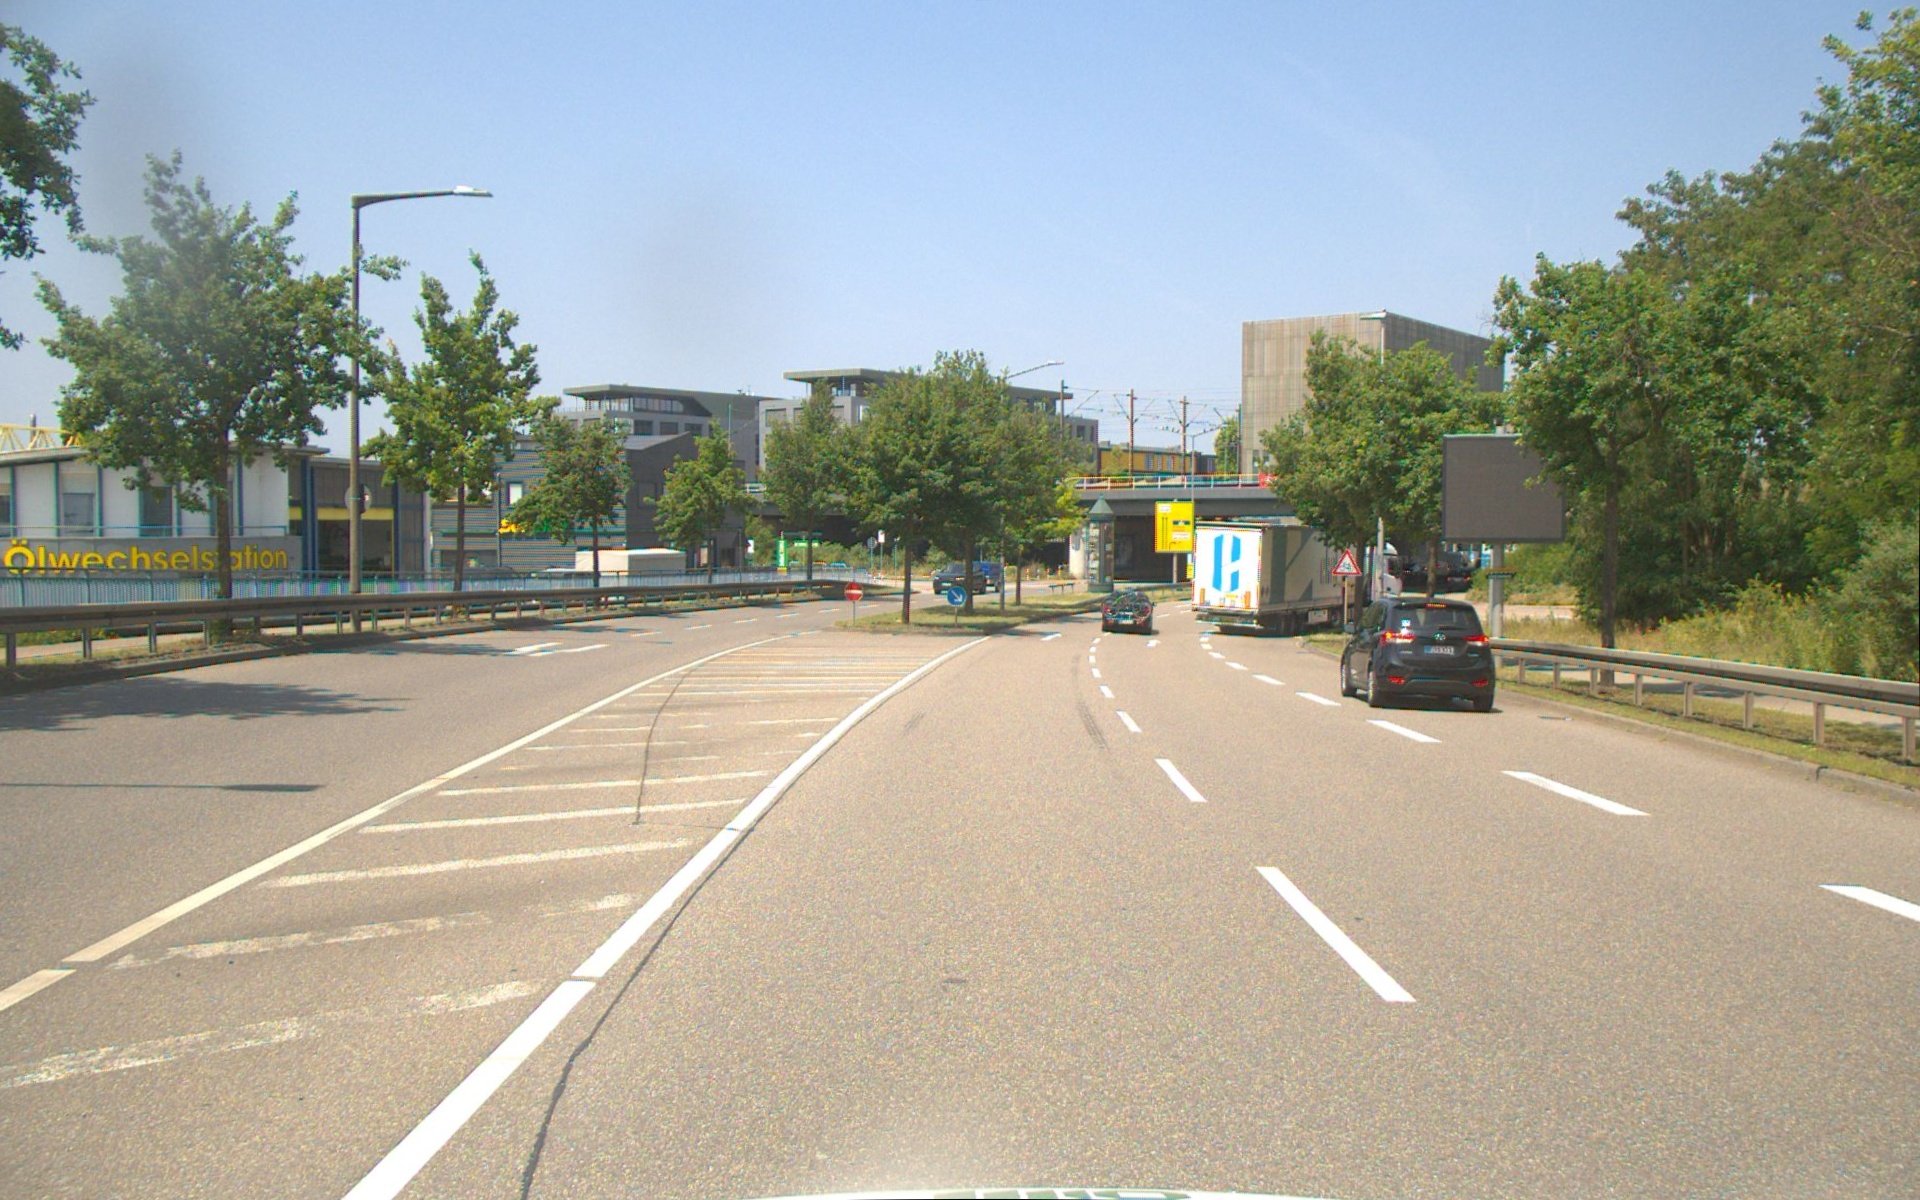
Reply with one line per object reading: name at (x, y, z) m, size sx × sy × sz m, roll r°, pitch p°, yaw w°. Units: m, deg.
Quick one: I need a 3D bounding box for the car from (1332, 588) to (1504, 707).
car at (6.865, 0.681, 25.179) m, size 1.730 × 1.627 × 4.079 m, roll 1°, pitch -1°, yaw 4°

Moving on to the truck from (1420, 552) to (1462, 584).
truck at (38.980, -2.589, 133.878) m, size 2.033 × 2.582 × 3.984 m, roll 0°, pitch 1°, yaw 37°

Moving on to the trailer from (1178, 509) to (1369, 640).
trailer at (12.699, -1.032, 65.185) m, size 3.020 × 4.443 × 14.755 m, roll 4°, pitch 3°, yaw 27°

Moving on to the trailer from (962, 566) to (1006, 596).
trailer at (1.362, -1.068, 93.741) m, size 1.473 × 1.643 × 3.309 m, roll -2°, pitch -1°, yaw 19°

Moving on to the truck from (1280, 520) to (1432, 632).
truck at (17.154, -1.022, 71.482) m, size 6.013 × 4.443 × 3.047 m, roll 2°, pitch 3°, yaw -37°

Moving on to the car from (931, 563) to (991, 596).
car at (0.078, -1.091, 90.090) m, size 1.874 × 1.681 × 4.409 m, roll -2°, pitch -1°, yaw 19°

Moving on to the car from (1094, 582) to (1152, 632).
car at (5.652, 0.214, 57.797) m, size 1.915 × 1.662 × 4.282 m, roll -1°, pitch 0°, yaw 5°
